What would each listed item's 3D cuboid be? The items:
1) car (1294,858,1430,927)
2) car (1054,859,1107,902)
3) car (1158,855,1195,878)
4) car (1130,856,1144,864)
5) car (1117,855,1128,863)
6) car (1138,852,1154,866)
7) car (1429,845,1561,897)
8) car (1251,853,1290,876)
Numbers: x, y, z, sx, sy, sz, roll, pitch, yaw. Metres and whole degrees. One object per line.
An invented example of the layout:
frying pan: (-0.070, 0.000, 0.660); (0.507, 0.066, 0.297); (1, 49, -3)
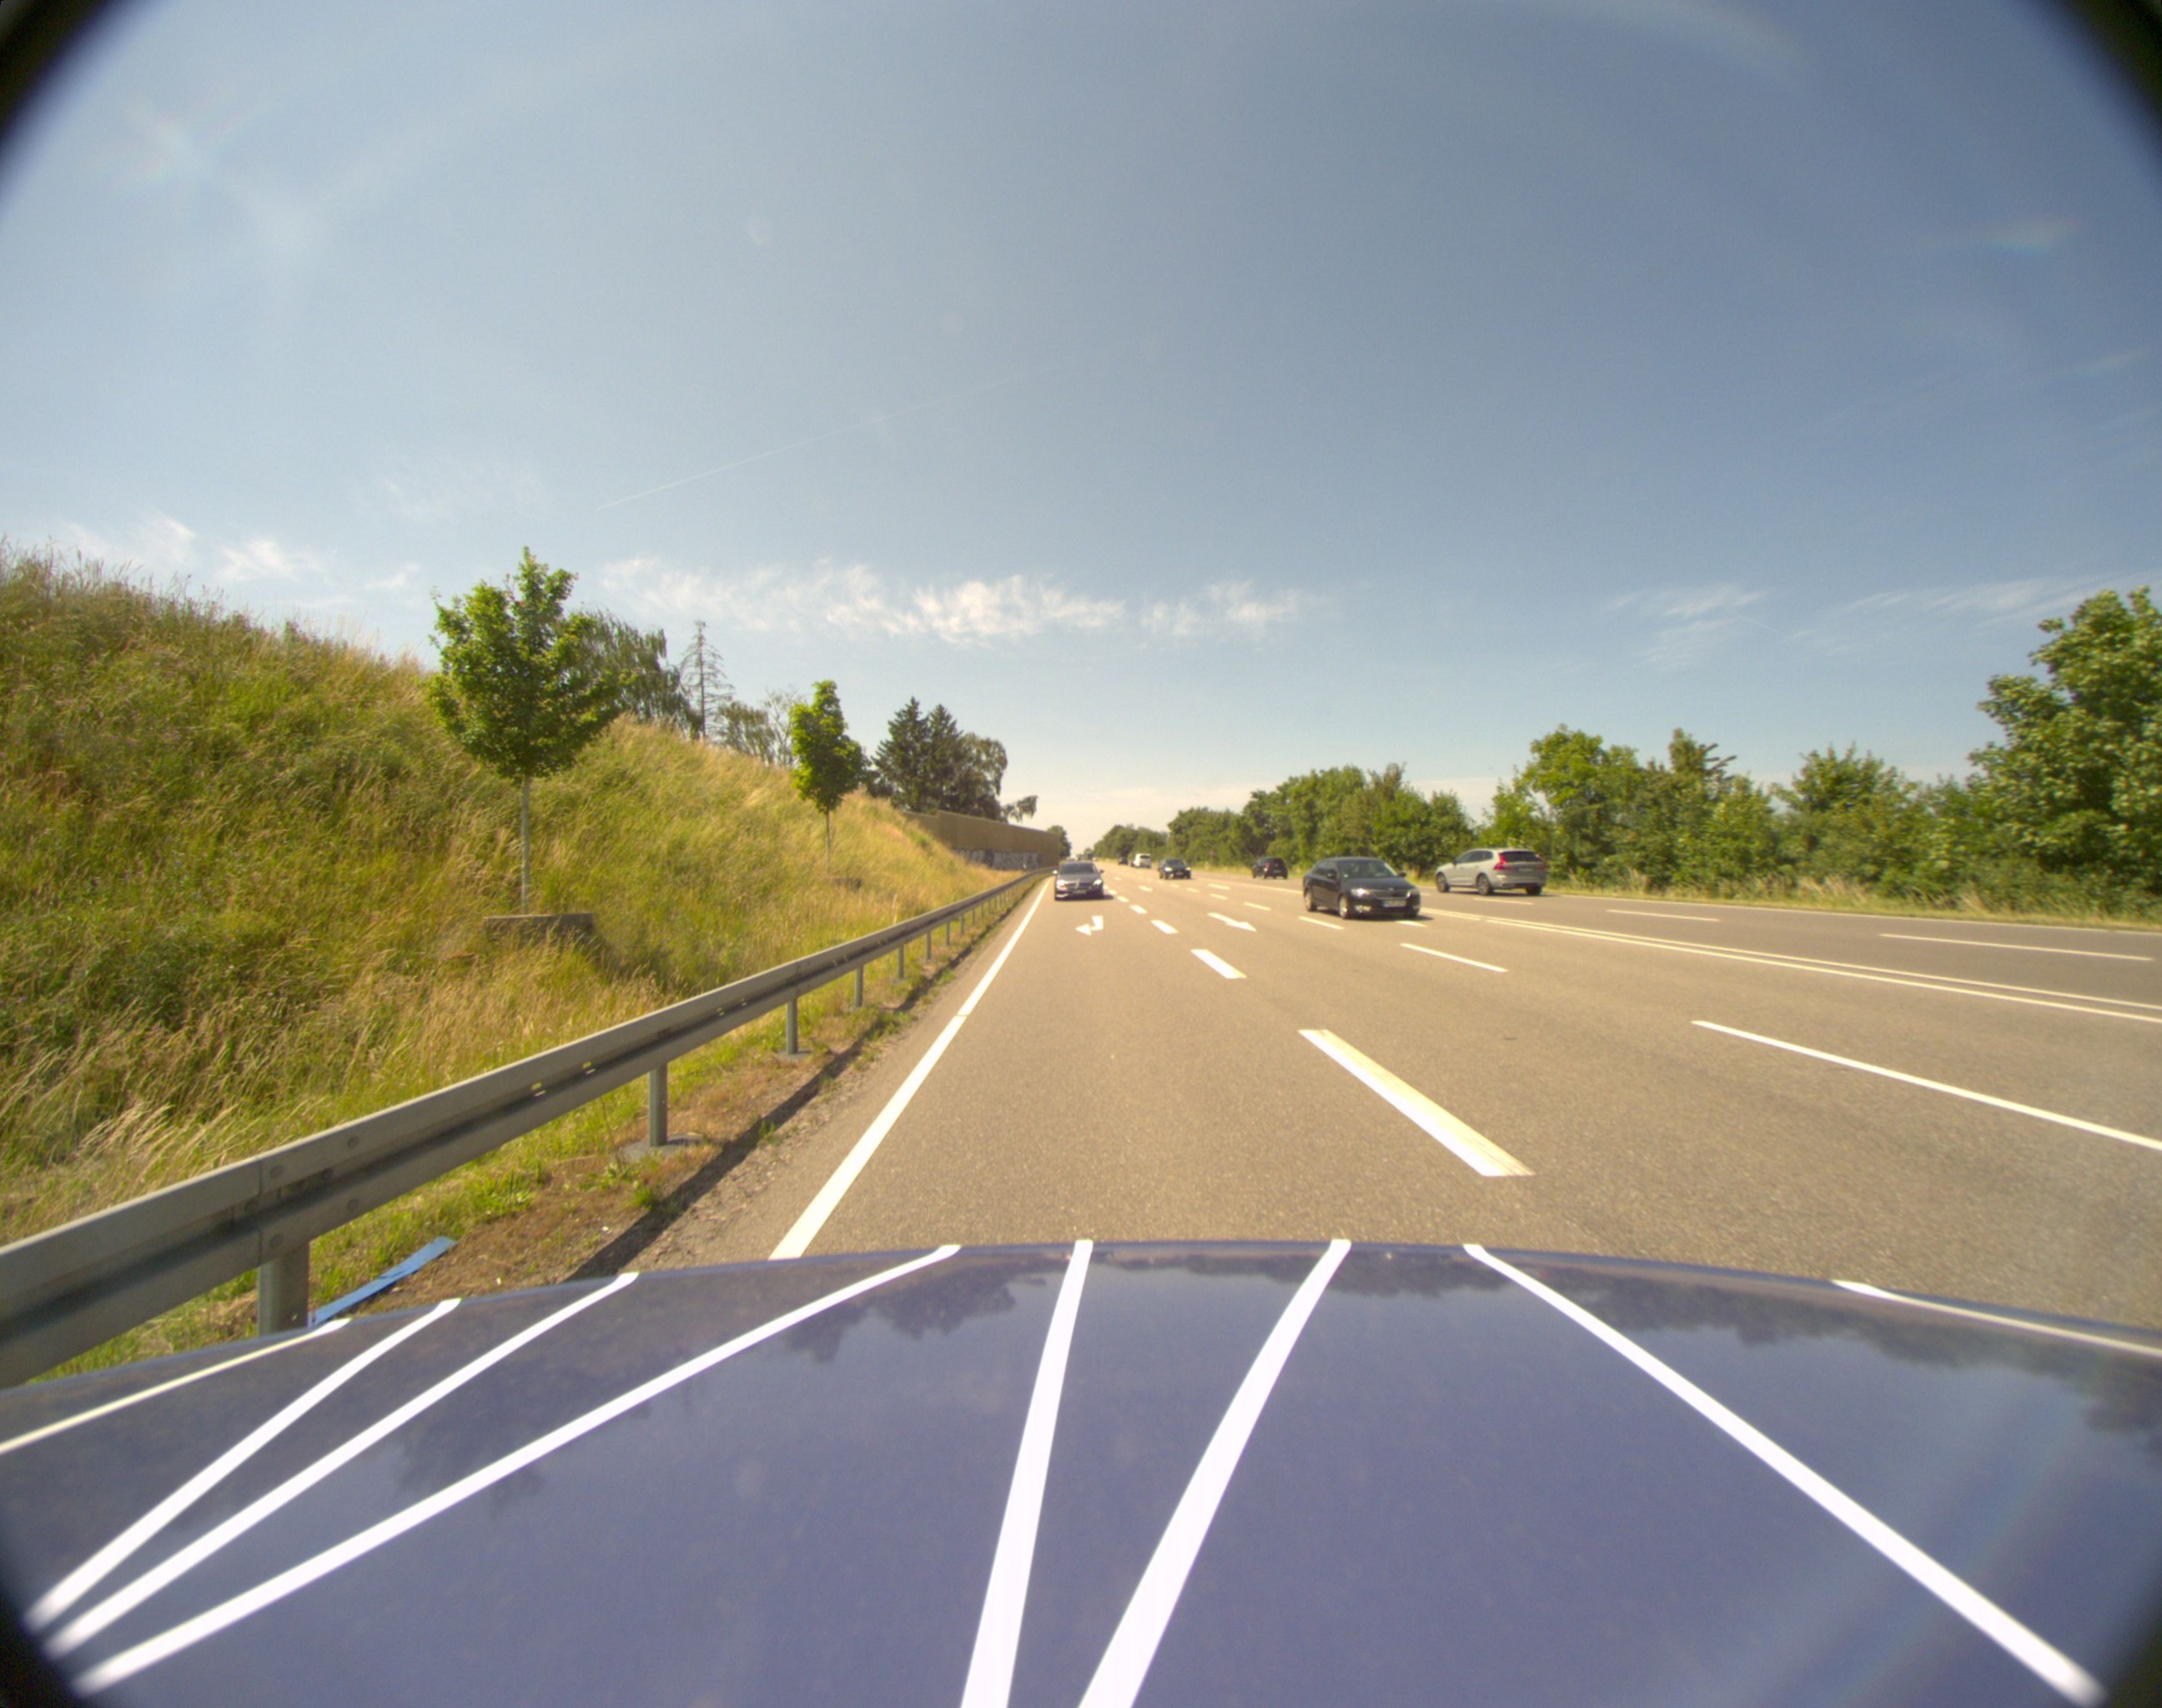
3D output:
car: (6.732, 0.854, 18.749); (1.679, 1.403, 4.466); (-2, 0, 0)
car: (-0.084, 0.981, 29.795); (1.894, 1.439, 4.525); (-2, 0, -2)
car: (6.588, 0.855, 52.884); (1.894, 1.439, 4.525); (-2, 0, -1)
car: (8.904, 0.948, 120.450); (1.555, 1.326, 4.853); (-1, 0, -3)
car: (8.262, 1.040, 150.711); (1.893, 1.527, 4.525); (-2, 0, 1)
car: (9.091, 0.751, 106.709); (1.910, 1.906, 5.051); (0, 0, 0)
car: (14.472, 0.549, 26.920); (2.033, 1.630, 4.568); (-2, 0, -2)
car: (13.058, 0.721, 52.521); (1.649, 1.479, 3.558); (-2, 0, -2)
